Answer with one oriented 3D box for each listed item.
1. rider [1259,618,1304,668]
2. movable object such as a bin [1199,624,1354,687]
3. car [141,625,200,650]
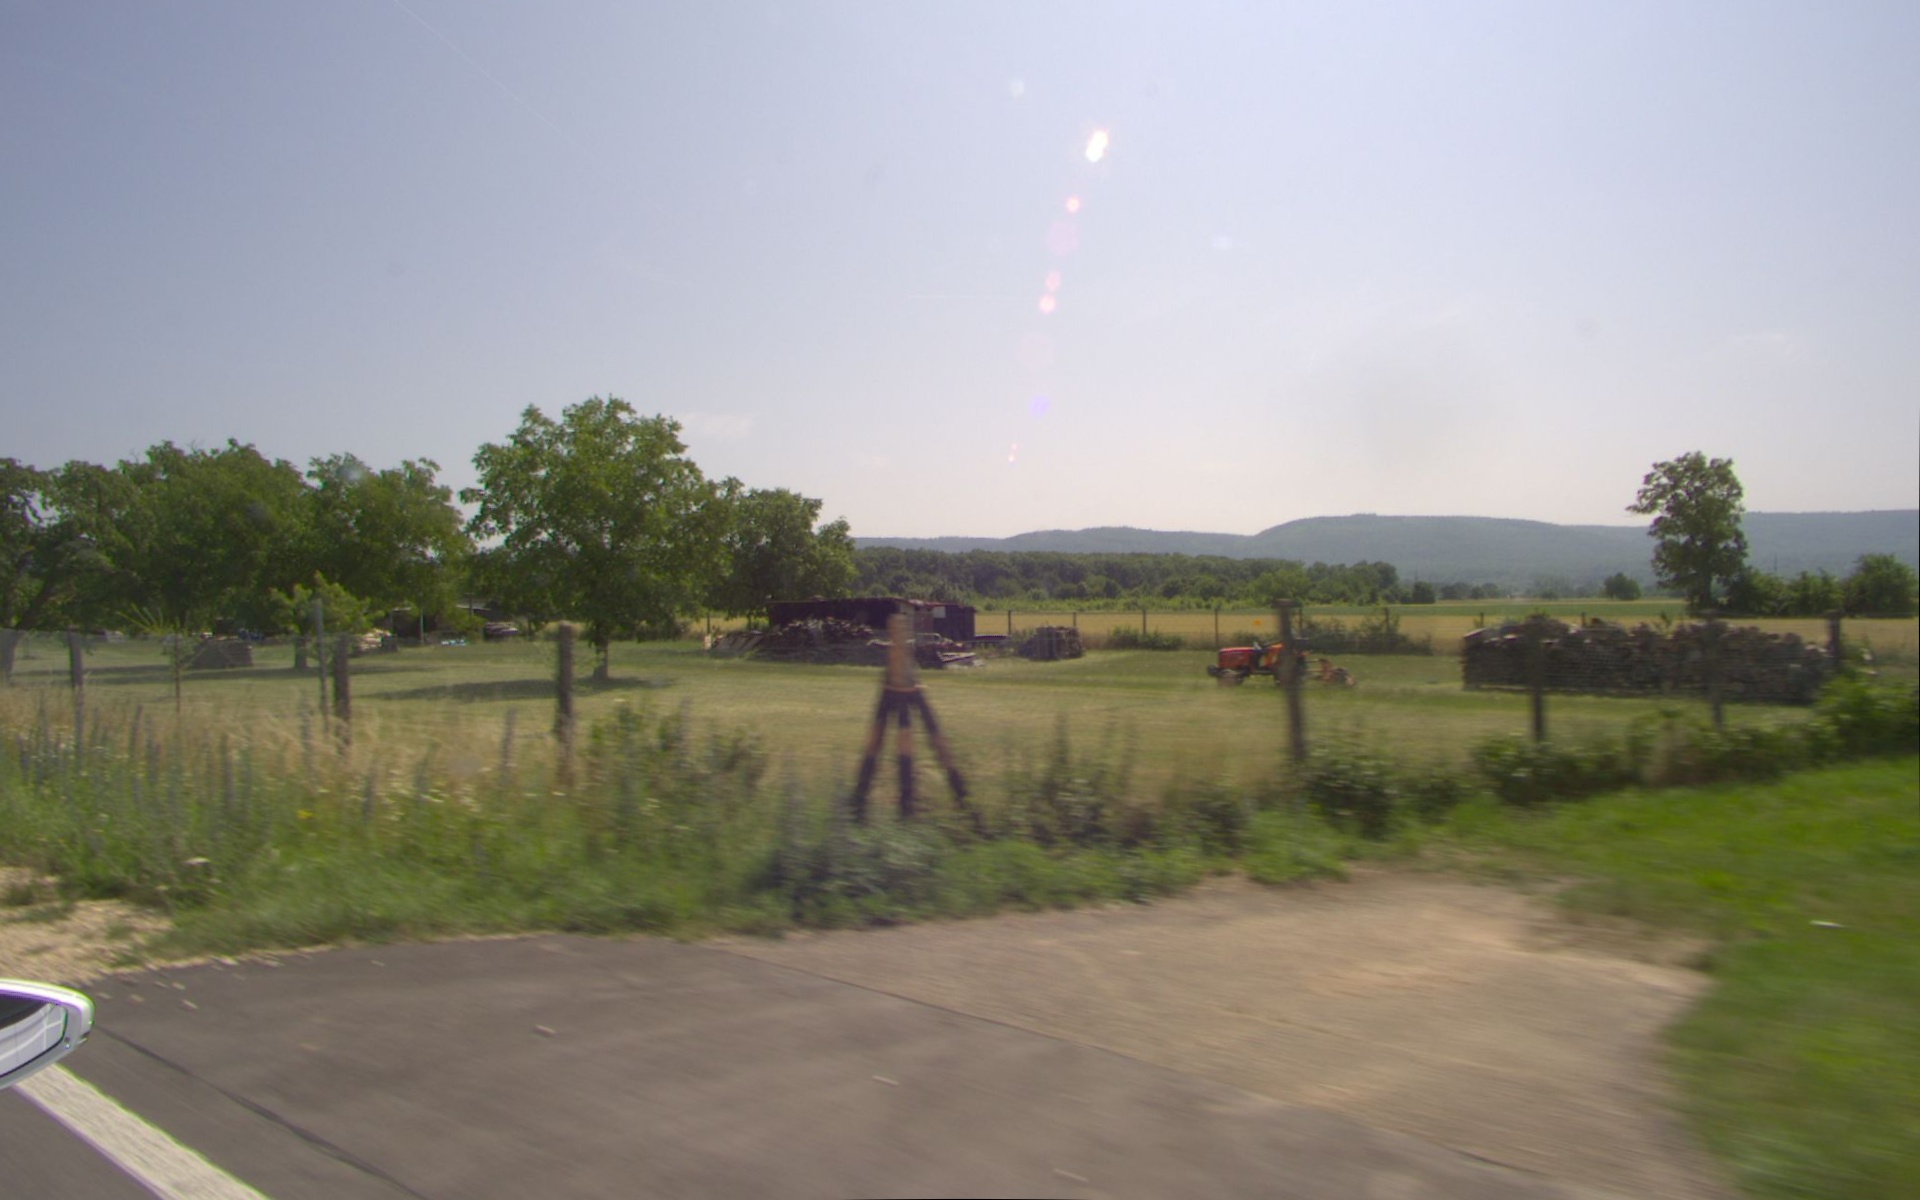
[{"bbox_3d":[8.221,1.081,25.581,0.970,1.233,1.024,-1,0,26],"label":"rider"},{"bbox_3d":[8.159,1.386,25.851,3.602,1.516,1.569,-1,0,28],"label":"movable object such as a bin"},{"bbox_3d":[-50.551,2.364,64.133,3.371,1.506,1.593,0,0,25],"label":"car"}]
